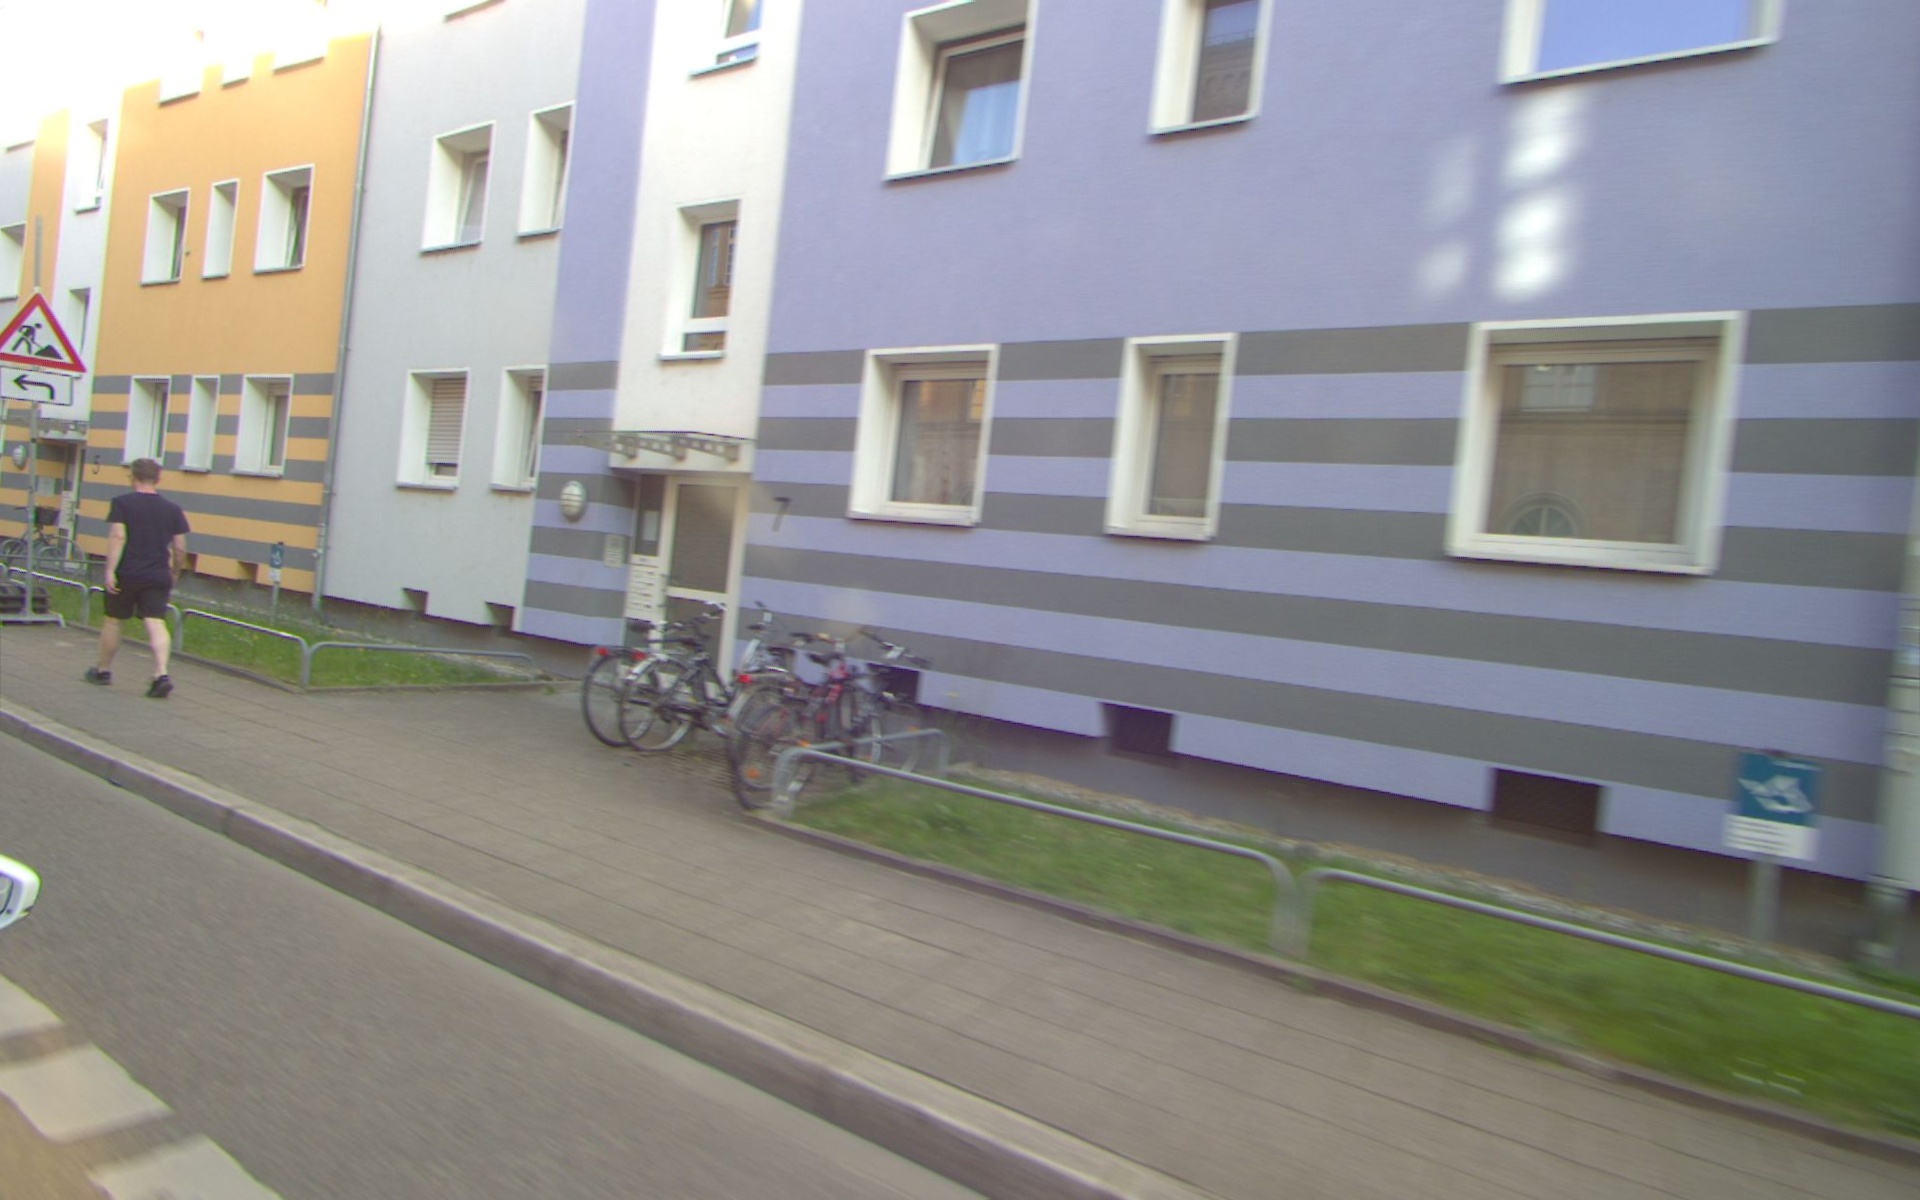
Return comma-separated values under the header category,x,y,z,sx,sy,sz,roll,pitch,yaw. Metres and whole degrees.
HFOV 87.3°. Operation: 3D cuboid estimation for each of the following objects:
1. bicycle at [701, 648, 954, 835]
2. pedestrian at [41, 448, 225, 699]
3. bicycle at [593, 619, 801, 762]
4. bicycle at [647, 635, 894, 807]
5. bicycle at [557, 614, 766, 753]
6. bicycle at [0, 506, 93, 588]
category,x,y,z,sx,sy,sz,roll,pitch,yaw
bicycle,-0.761,0.822,6.350,0.543,0.958,1.750,6,0,31
pedestrian,-6.416,-0.222,7.796,1.169,1.784,0.697,7,3,31
bicycle,-1.964,0.677,7.773,0.320,0.958,1.749,6,0,32
bicycle,-1.206,0.766,6.793,0.543,0.958,1.750,6,0,31
bicycle,-2.291,0.638,7.950,0.329,0.958,1.750,6,0,31
bicycle,-14.436,-0.839,15.247,0.542,1.151,1.813,6,0,29
